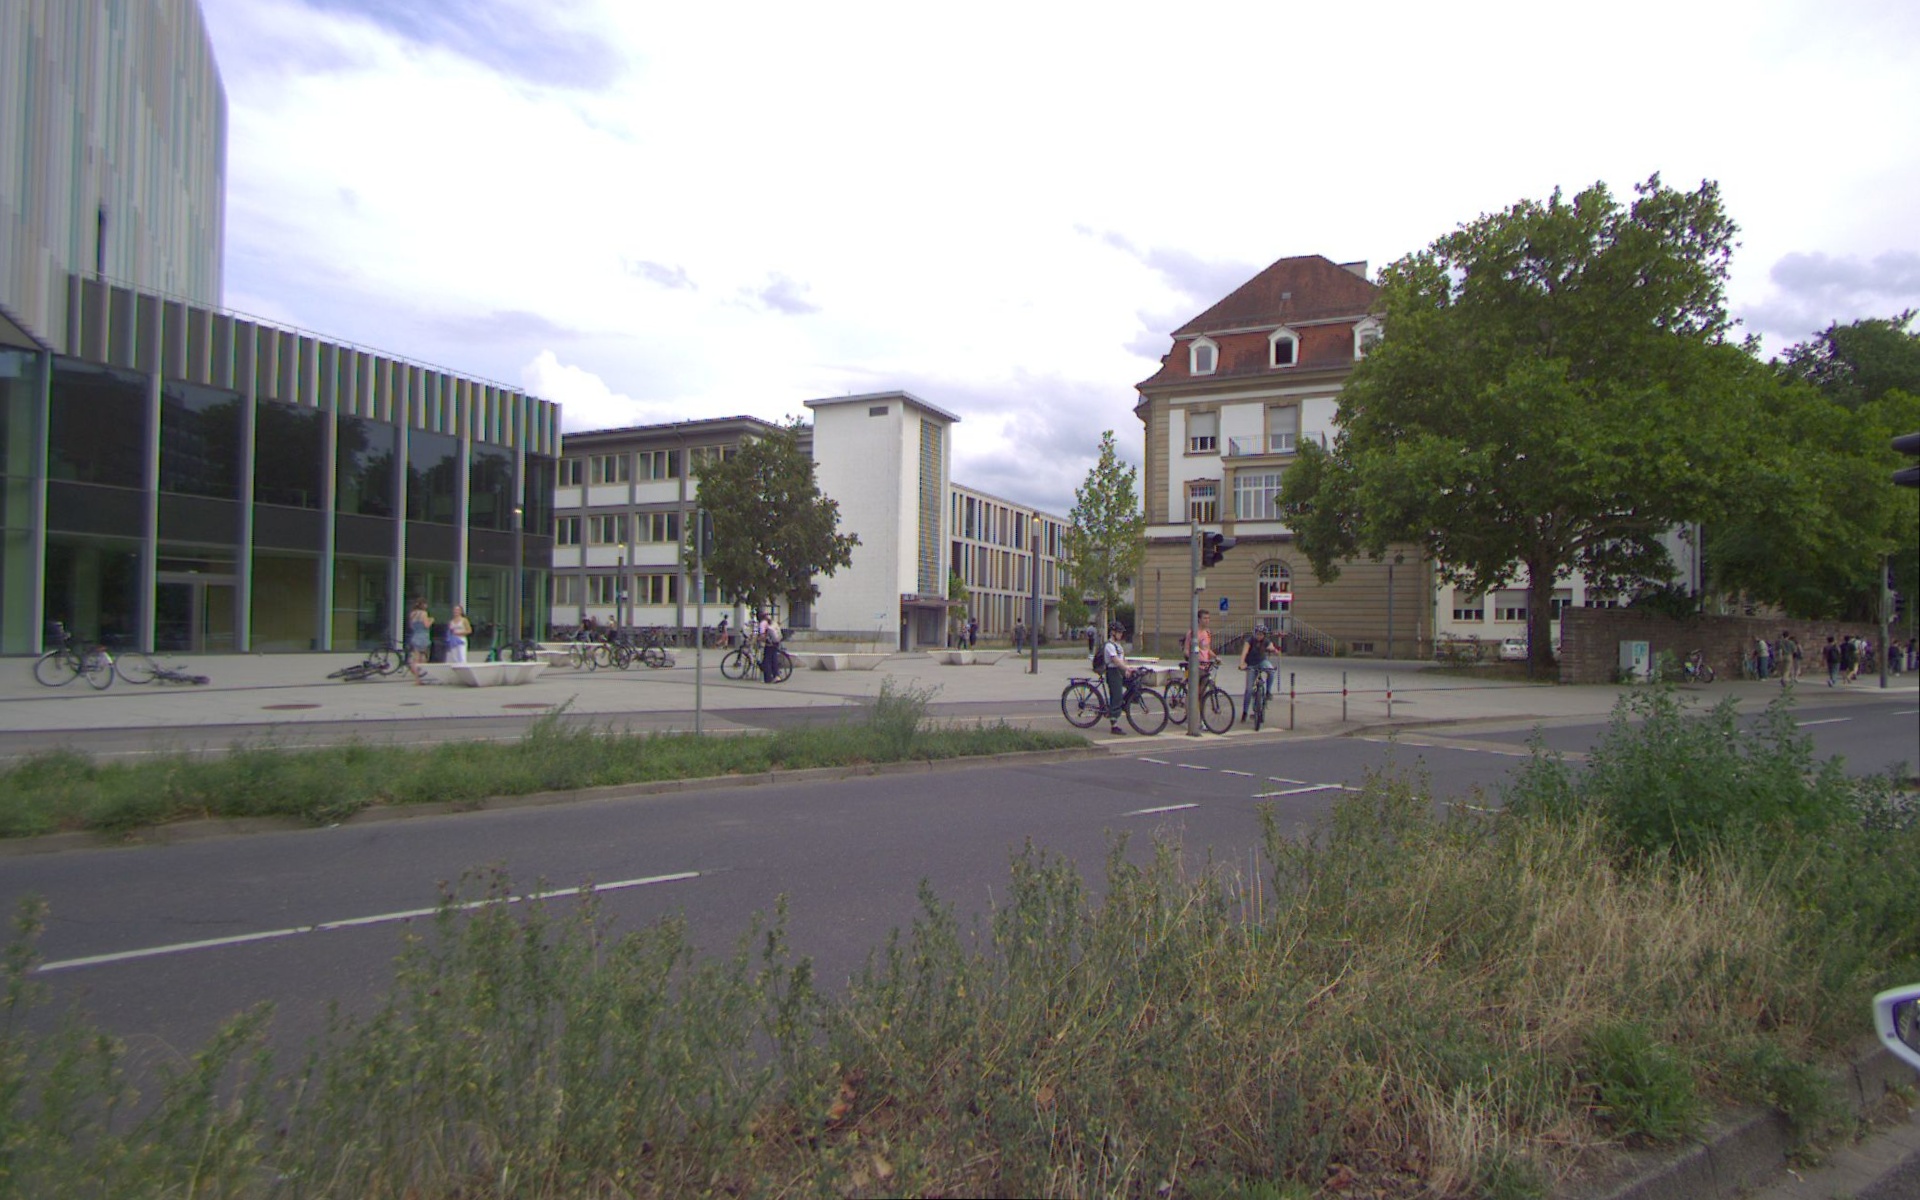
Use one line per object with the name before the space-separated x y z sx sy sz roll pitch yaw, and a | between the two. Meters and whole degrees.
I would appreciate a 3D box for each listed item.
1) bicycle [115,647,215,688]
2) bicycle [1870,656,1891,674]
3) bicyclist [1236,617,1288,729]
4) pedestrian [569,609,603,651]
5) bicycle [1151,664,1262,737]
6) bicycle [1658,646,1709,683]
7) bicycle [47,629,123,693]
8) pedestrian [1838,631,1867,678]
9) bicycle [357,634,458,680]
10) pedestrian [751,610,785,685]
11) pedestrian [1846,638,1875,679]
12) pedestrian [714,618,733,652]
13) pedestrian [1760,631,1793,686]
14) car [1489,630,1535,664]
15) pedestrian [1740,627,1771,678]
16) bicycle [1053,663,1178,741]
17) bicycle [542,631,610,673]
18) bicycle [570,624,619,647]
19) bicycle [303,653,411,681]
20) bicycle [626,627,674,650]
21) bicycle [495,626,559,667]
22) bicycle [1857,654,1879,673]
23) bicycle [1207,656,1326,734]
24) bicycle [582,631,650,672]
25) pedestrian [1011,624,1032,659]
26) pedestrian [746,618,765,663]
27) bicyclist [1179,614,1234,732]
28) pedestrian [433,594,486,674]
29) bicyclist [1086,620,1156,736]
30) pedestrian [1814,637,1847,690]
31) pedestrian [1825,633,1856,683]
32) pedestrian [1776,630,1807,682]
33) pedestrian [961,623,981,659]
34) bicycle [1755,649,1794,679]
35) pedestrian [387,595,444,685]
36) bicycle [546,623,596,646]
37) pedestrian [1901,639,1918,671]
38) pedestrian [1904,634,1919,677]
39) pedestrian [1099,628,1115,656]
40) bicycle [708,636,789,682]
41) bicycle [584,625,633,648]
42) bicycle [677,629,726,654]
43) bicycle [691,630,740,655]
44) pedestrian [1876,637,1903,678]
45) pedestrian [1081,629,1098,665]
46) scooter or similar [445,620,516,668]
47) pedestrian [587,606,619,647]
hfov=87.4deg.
bicycle | -15.432 1.305 19.506 1.759 0.682 0.394 2 0 8
bicycle | 43.757 3.076 47.754 1.605 0.807 0.437 1 1 -37
bicyclist | 5.106 1.212 17.000 0.558 1.831 0.594 2 0 -44
pedestrian | -17.613 1.408 47.322 1.051 1.956 0.974 2 -1 27
bicycle | 3.944 1.590 16.168 0.567 1.002 1.670 2 0 -43
bicycle | 24.183 2.139 33.542 2.141 1.141 0.574 2 1 -32
bicycle | -15.783 1.083 18.112 1.516 1.043 0.394 2 0 23
pedestrian | 35.001 2.147 39.399 0.748 1.805 0.912 1 -2 34
bicycle | -12.949 1.325 23.543 2.205 0.998 0.624 1 -1 13
pedestrian | -4.215 1.034 22.056 0.566 1.601 0.649 1 -1 -25
pedestrian | 37.971 2.473 42.368 0.749 1.692 0.922 -1 -4 35
pedestrian | -11.195 1.654 47.506 0.644 1.569 0.599 1 -1 12
pedestrian | 27.428 1.951 33.757 0.734 1.805 0.782 1 -2 31
car | 30.820 2.596 56.178 1.874 1.774 3.999 0 -2 23
pedestrian | 29.076 1.925 36.729 0.733 1.805 0.783 1 -2 29
bicycle | 2.356 1.522 15.384 0.723 1.002 1.799 2 0 -43
bicycle | -10.873 1.441 28.403 0.792 1.104 2.647 2 -2 -44
bicycle | -19.146 1.861 52.687 0.732 1.149 2.671 0 -1 26
bicycle | -13.239 1.467 22.060 2.205 0.528 0.624 1 -1 13
bicycle | -15.719 1.952 51.017 0.732 1.149 2.671 0 -1 26
bicycle | -11.675 1.232 27.041 0.669 1.012 2.647 2 -2 -44
bicycle | 41.956 2.933 46.417 1.605 0.807 0.437 1 1 -37
bicycle | 5.136 1.560 16.917 0.603 1.185 1.870 2 -2 -44
bicycle | -10.043 1.481 29.239 0.792 1.104 2.647 2 -2 -44
pedestrian | 2.837 1.914 46.329 0.725 1.569 0.700 2 -2 -24
pedestrian | -8.226 1.622 40.436 0.627 1.802 0.594 1 -1 -19
bicyclist | 3.963 1.161 16.163 0.558 1.831 0.594 2 0 -44
pedestrian | -10.440 0.699 20.959 0.717 1.621 0.677 0 -1 29
bicyclist | 2.452 1.166 15.294 0.719 1.695 0.719 2 0 -44
pedestrian | 30.273 2.196 34.943 0.748 1.805 0.782 1 -2 34
pedestrian | 32.130 2.115 36.664 0.748 1.805 0.782 1 -2 35
pedestrian | 30.007 2.013 36.254 0.748 1.805 0.782 1 -2 32
pedestrian | 0.495 1.801 44.300 0.648 1.569 0.706 2 -2 -24
bicycle | 30.998 2.441 38.217 1.960 1.072 0.545 2 1 -34
pedestrian | -10.845 0.790 20.014 0.717 1.763 0.678 0 -1 26
bicycle | -20.488 1.820 52.974 0.732 1.149 2.671 0 -1 26
pedestrian | 48.477 2.820 51.284 0.579 1.613 0.732 1 -3 40
pedestrian | 40.473 2.348 42.394 0.748 1.805 0.922 1 -2 34
pedestrian | 10.738 3.045 73.310 0.900 2.040 1.231 0 -1 23
bicycle | -4.752 1.325 22.591 1.726 1.012 0.437 2 -1 -27
bicycle | -18.151 1.884 51.960 0.732 1.149 2.671 0 -1 26
bicycle | -12.734 2.031 49.586 0.732 1.149 2.671 0 -1 26
bicycle | -11.832 2.049 48.734 0.732 1.149 2.671 0 -1 26
pedestrian | 41.567 2.568 44.914 0.748 1.805 0.782 1 -2 35
pedestrian | 7.567 2.725 58.696 0.779 2.040 0.835 0 -1 25
scooter or similar | -12.741 1.154 26.665 2.087 1.214 0.595 0 -1 29
pedestrian | -17.286 1.278 48.633 1.051 1.956 0.974 0 -1 27
